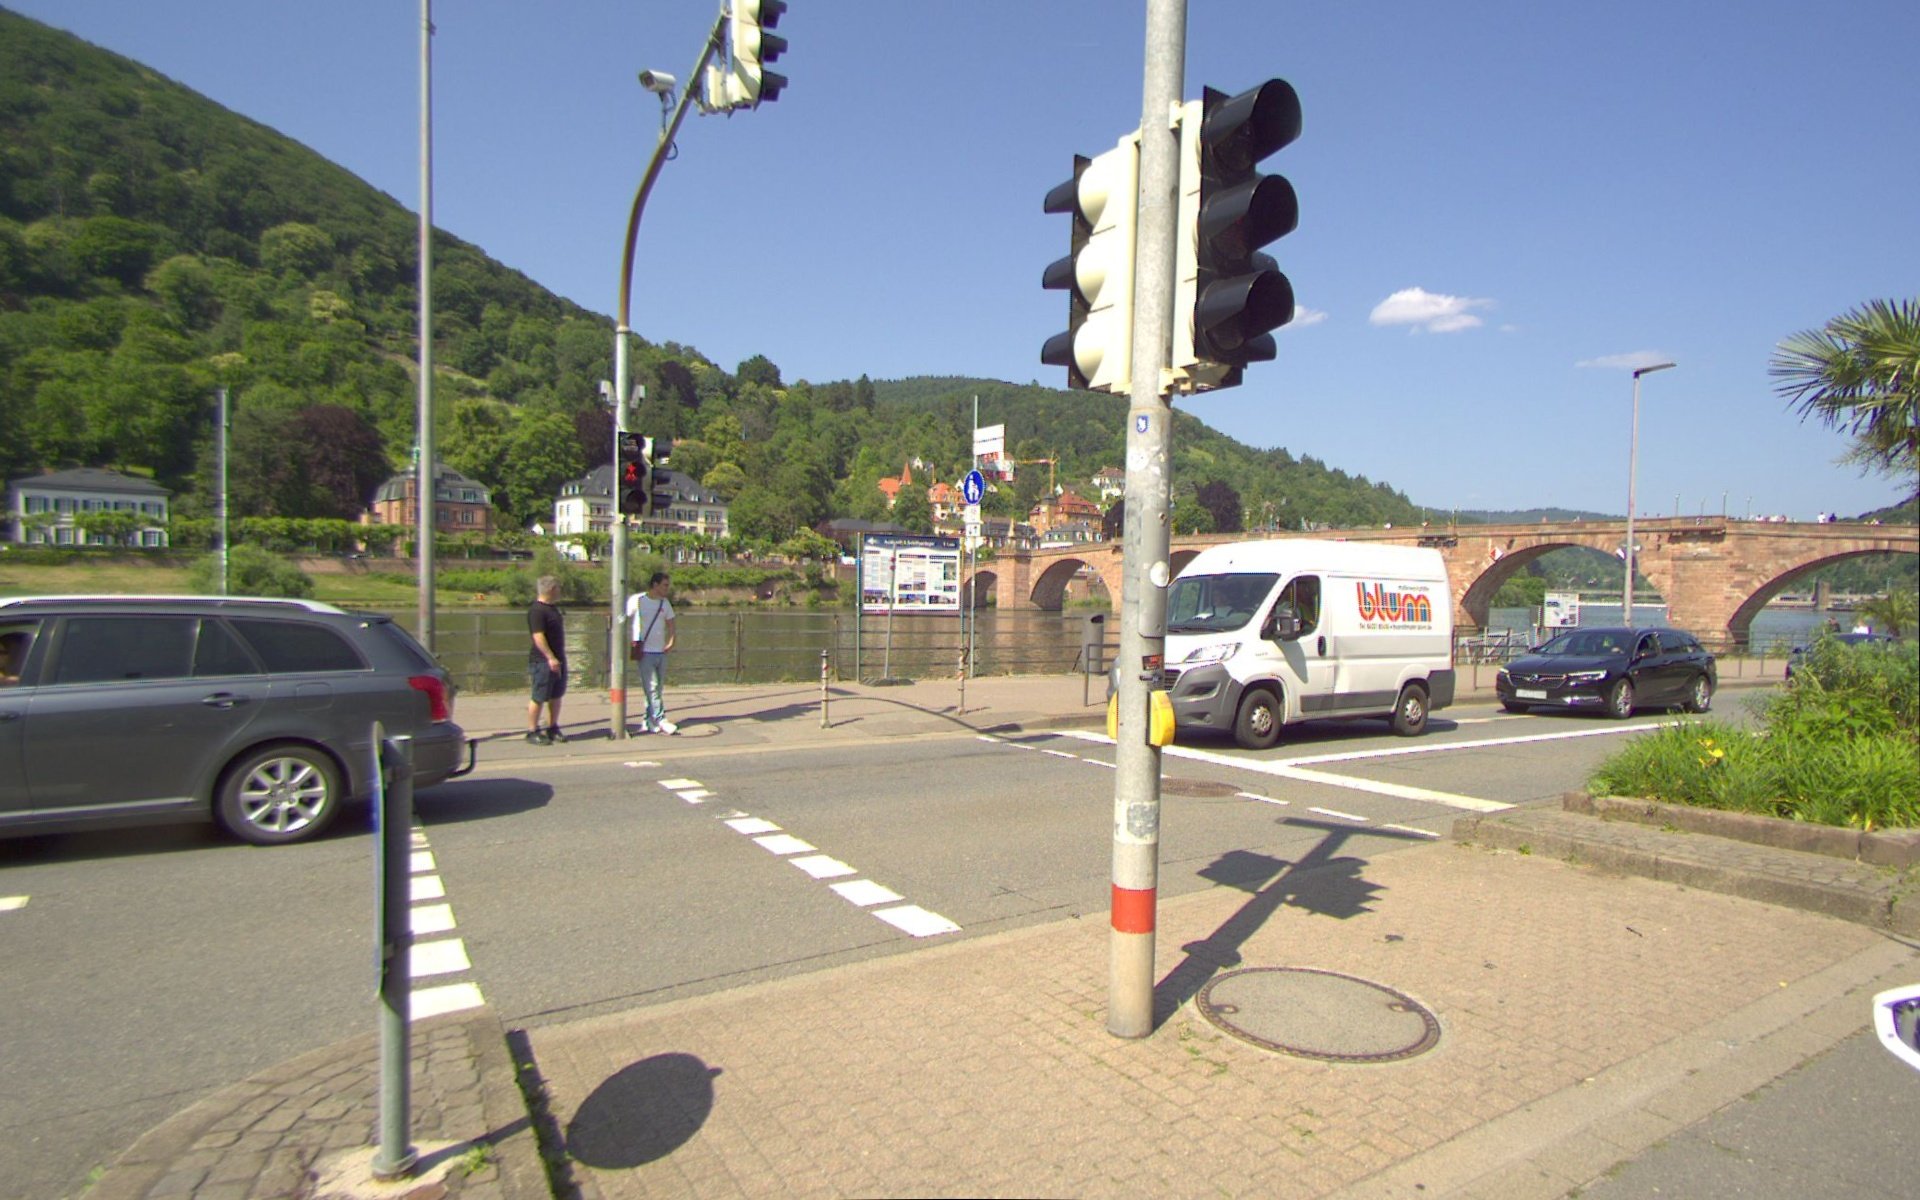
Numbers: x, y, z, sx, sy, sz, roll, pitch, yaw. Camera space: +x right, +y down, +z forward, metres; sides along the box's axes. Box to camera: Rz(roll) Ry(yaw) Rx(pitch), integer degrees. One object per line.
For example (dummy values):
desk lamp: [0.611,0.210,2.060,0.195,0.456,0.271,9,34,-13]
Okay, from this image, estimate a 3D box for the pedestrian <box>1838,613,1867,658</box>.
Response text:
pedestrian: [36.535,1.451,41.112,0.690,1.804,0.755,0,2,-40]

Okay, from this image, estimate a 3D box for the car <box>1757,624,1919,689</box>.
car: [21.049,1.328,23.942,4.172,1.431,1.942,2,-2,-32]

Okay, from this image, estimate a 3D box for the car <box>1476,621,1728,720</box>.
car: [11.074,1.102,17.221,4.875,1.475,1.808,1,-1,-33]

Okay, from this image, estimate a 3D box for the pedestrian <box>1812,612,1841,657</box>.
pedestrian: [36.049,1.435,41.800,0.690,1.804,0.755,0,2,-40]

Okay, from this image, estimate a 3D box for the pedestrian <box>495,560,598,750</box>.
pedestrian: [-4.225,0.532,10.244,0.758,1.804,0.688,0,7,-40]

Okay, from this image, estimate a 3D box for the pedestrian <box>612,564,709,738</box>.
pedestrian: [-3.322,0.536,11.135,0.758,1.804,0.688,0,7,-40]

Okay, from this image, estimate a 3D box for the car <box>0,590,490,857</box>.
car: [-5.535,0.684,6.267,4.521,1.427,1.941,1,-2,-33]

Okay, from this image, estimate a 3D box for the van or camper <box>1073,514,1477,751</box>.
van or camper: [4.178,0.403,12.868,5.437,2.482,1.982,1,-1,-34]
